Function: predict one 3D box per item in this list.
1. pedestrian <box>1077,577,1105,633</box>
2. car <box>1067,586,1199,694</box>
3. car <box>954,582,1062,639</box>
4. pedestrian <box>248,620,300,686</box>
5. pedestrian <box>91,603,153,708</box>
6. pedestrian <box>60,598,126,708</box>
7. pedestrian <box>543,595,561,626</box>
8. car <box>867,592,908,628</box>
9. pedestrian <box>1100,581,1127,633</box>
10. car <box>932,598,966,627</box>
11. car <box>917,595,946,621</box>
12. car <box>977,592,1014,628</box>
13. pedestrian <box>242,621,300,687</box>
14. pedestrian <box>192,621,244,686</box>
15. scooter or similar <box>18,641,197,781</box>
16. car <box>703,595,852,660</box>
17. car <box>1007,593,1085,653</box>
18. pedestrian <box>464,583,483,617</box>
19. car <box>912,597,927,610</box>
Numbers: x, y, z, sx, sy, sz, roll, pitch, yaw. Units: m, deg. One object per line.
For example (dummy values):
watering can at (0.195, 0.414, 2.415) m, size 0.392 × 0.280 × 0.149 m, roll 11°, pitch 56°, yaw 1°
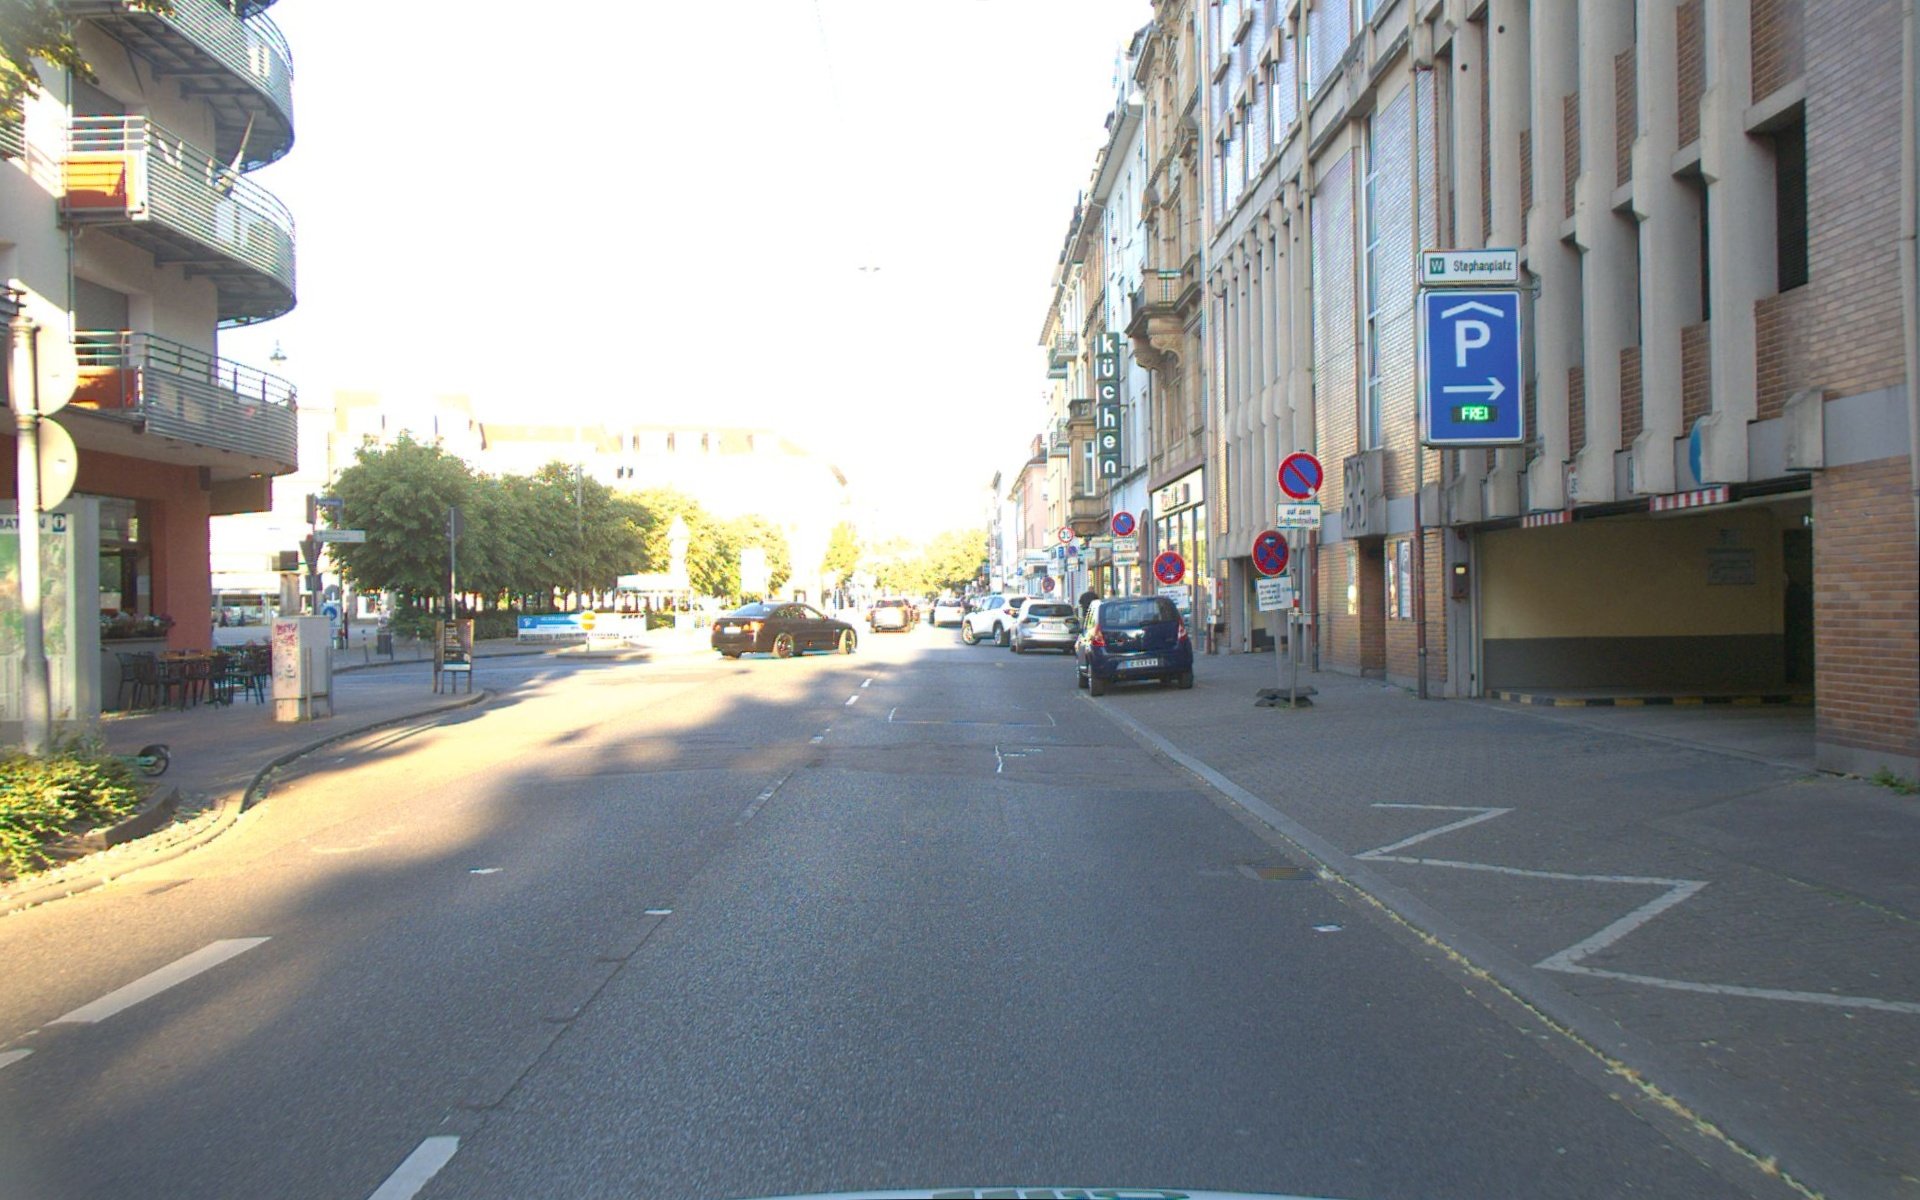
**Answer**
pedestrian at (4.465, 0.181, 56.399) m, size 0.757 × 1.859 × 1.010 m, roll -2°, pitch 0°, yaw -1°
car at (2.823, 0.616, 27.770) m, size 1.723 × 1.563 × 4.000 m, roll -4°, pitch 0°, yaw 0°
car at (1.542, 0.339, 54.909) m, size 1.966 × 1.792 × 4.435 m, roll -1°, pitch 0°, yaw -22°
pedestrian at (-13.893, 1.079, 33.506) m, size 0.811 × 1.295 × 0.747 m, roll -1°, pitch -1°, yaw -9°
pedestrian at (-13.155, 0.867, 25.981) m, size 0.584 × 1.623 × 0.702 m, roll -2°, pitch -1°, yaw 1°
pedestrian at (-13.054, 0.794, 24.918) m, size 0.584 × 1.623 × 0.751 m, roll -2°, pitch -1°, yaw 1°
pedestrian at (-21.198, 0.557, 85.941) m, size 0.663 × 1.623 × 0.677 m, roll 0°, pitch 0°, yaw 19°
car at (-3.467, 0.461, 79.460) m, size 1.858 × 1.678 × 4.103 m, roll 0°, pitch 0°, yaw -1°
pedestrian at (5.243, 0.237, 56.479) m, size 0.757 × 1.741 × 1.042 m, roll -2°, pitch 0°, yaw -1°
car at (-0.642, 0.696, 94.419) m, size 1.858 × 1.609 × 3.999 m, roll 1°, pitch 0°, yaw -1°
car at (-1.865, 0.493, 107.793) m, size 1.858 × 1.608 × 3.851 m, roll 2°, pitch 0°, yaw -1°
car at (1.708, 0.485, 80.385) m, size 1.694 × 1.679 × 4.284 m, roll 1°, pitch -1°, yaw 0°
pedestrian at (-13.656, 1.059, 32.787) m, size 0.881 × 1.264 × 0.766 m, roll -1°, pitch -1°, yaw -9°
pedestrian at (-14.822, 1.067, 33.065) m, size 0.708 × 1.269 × 0.828 m, roll -1°, pitch -1°, yaw -7°
scooter or similar at (-7.904, 1.018, 15.369) m, size 1.370 × 1.247 × 0.525 m, roll 0°, pitch 0°, yaw -4°
car at (-4.734, 0.693, 43.405) m, size 1.862 × 1.609 × 3.991 m, roll 1°, pitch 0°, yaw 31°
car at (2.350, 0.633, 46.257) m, size 1.724 × 1.563 × 4.819 m, roll 1°, pitch -1°, yaw -3°
pedestrian at (-23.202, -0.005, 78.911) m, size 0.663 × 1.623 × 0.568 m, roll 0°, pitch 0°, yaw 19°
car at (-4.964, 0.377, 202.702) m, size 1.743 × 1.574 × 3.999 m, roll 0°, pitch 0°, yaw -2°
